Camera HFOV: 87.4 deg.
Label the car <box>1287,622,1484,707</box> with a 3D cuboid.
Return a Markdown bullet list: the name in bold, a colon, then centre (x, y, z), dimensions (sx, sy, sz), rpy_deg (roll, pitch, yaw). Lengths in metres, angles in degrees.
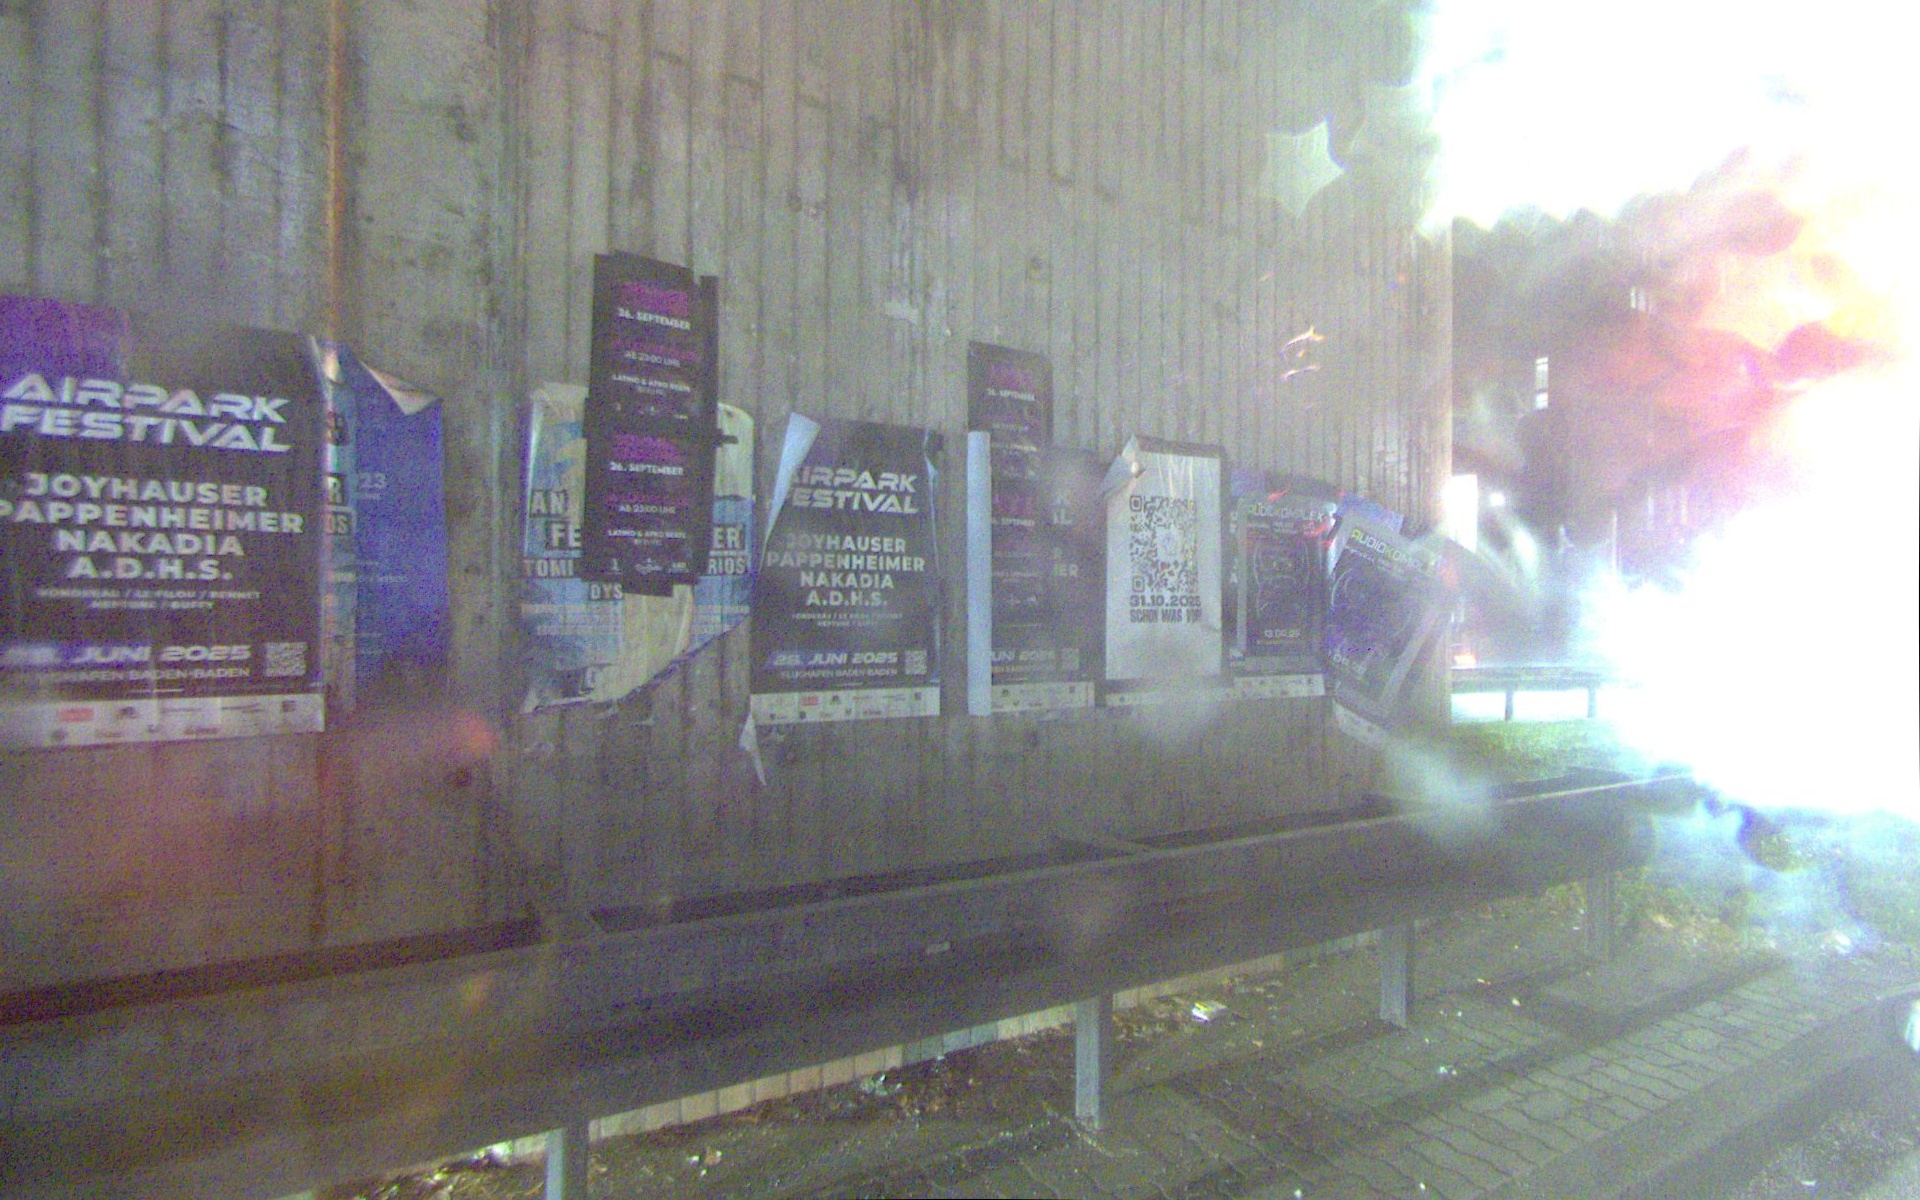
- **car**: centre (8.902, 1.308, 20.958), dimensions (3.953, 1.585, 1.792), rpy_deg (2, -1, -30)

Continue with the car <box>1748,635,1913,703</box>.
- **car**: centre (22.319, 1.733, 25.724), dimensions (4.382, 1.572, 1.876), rpy_deg (2, -1, -30)
